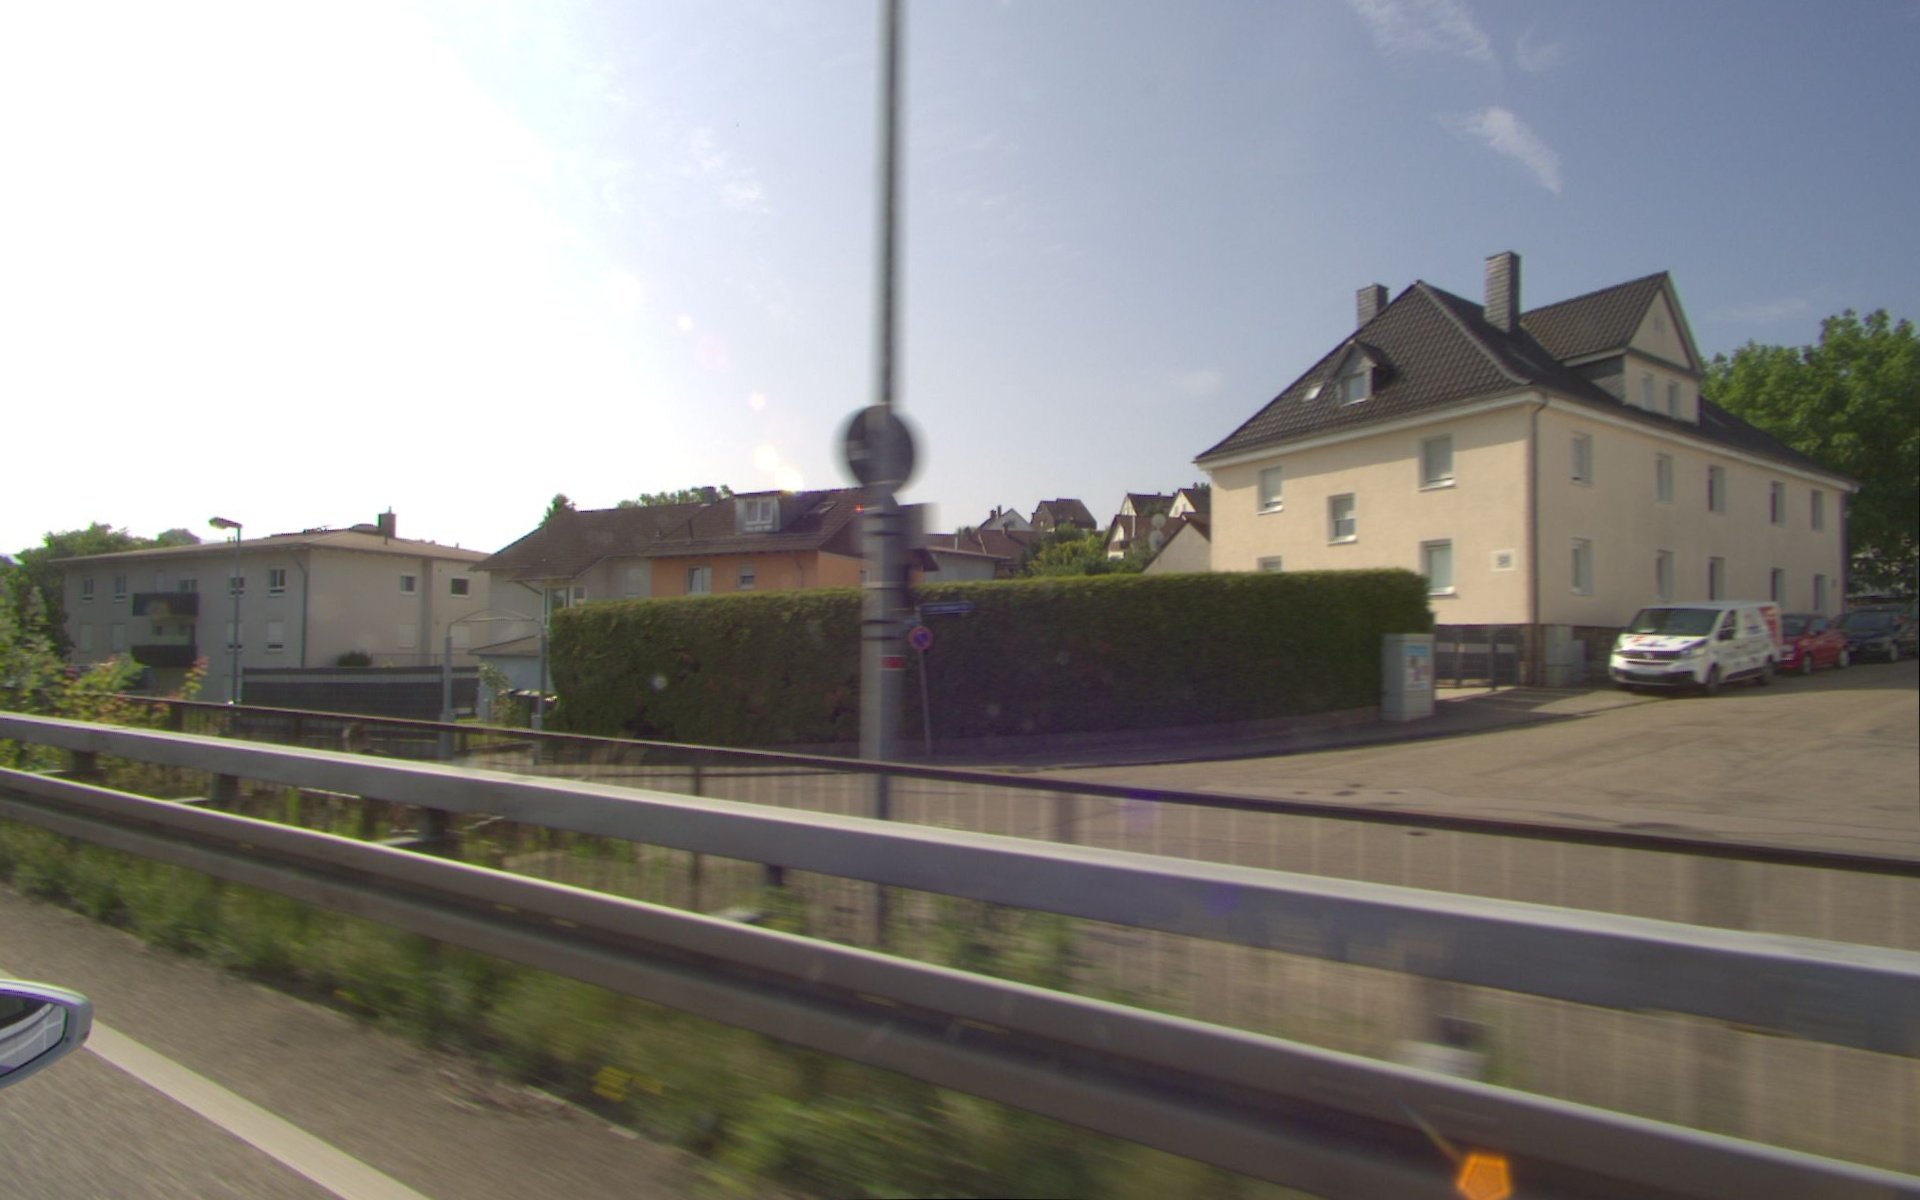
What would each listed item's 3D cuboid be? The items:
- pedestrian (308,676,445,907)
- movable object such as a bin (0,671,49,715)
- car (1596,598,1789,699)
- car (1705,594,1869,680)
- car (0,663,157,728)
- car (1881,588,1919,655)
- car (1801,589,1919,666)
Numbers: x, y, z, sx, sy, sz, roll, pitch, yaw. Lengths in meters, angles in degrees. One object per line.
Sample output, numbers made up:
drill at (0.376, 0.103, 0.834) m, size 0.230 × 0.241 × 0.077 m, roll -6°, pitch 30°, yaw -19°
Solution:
pedestrian at (-5.630, 1.775, 9.670) m, size 0.984 × 2.039 × 0.786 m, roll -1°, pitch -1°, yaw 35°
movable object such as a bin at (-46.267, 4.495, 48.500) m, size 1.563 × 2.038 × 2.783 m, roll 0°, pitch -4°, yaw 30°
car at (16.835, 1.045, 22.958) m, size 4.773 × 2.010 × 1.949 m, roll -2°, pitch -1°, yaw -32°
car at (21.920, 0.916, 26.503) m, size 4.773 × 2.010 × 1.949 m, roll -2°, pitch -1°, yaw -32°
car at (-39.815, 4.215, 44.493) m, size 2.280 × 2.718 × 6.070 m, roll -5°, pitch -5°, yaw 29°
car at (30.973, 0.604, 31.344) m, size 4.773 × 2.010 × 1.949 m, roll -2°, pitch -1°, yaw -32°
car at (26.427, 0.741, 28.893) m, size 4.773 × 2.010 × 1.949 m, roll -2°, pitch -1°, yaw -32°
